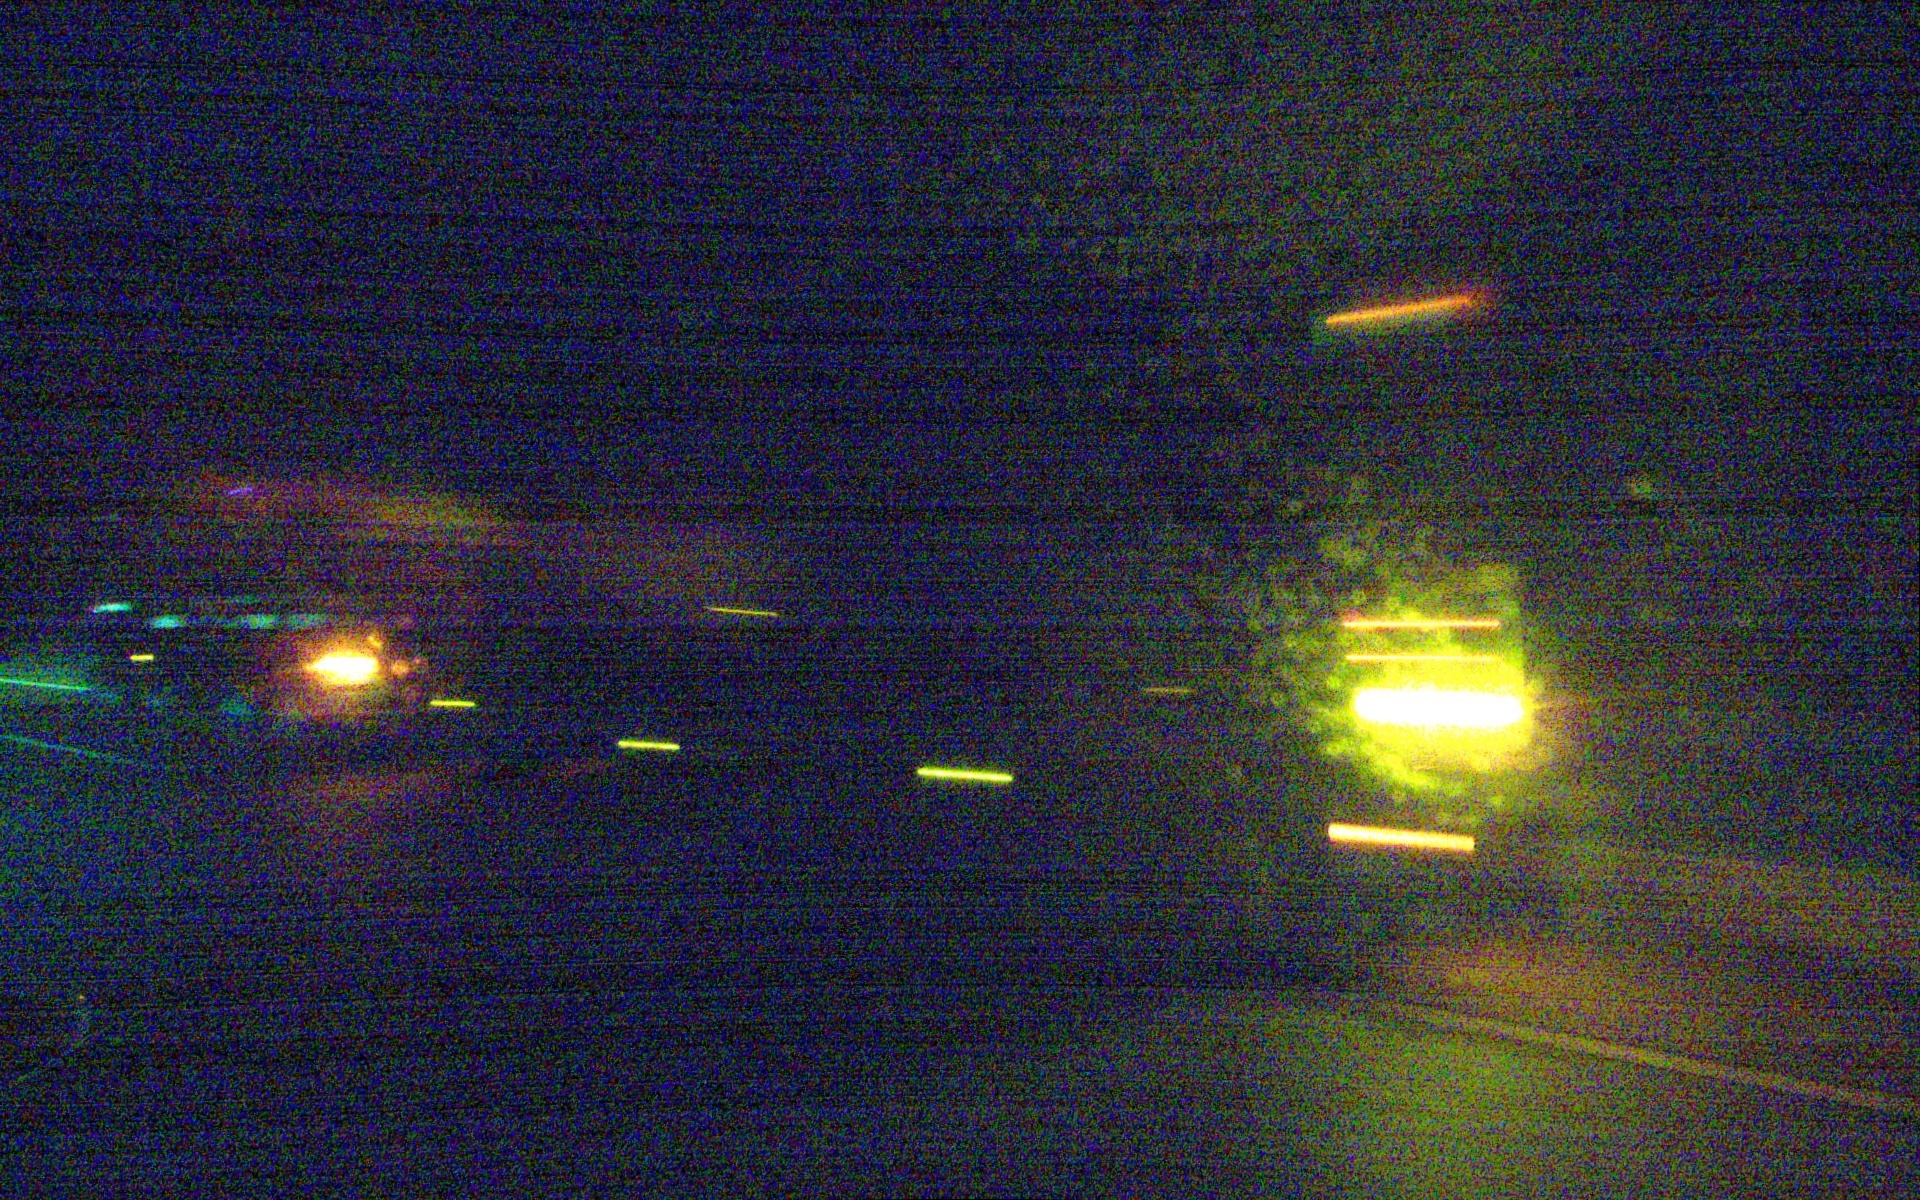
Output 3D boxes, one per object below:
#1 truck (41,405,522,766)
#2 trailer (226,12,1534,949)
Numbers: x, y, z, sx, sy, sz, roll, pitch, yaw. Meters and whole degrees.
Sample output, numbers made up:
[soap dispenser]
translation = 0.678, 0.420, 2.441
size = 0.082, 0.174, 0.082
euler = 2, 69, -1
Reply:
[truck]
translation = -9.873, -0.103, 14.217
size = 7.943, 3.891, 2.859
euler = -1, 0, 34
[trailer]
translation = -2.265, -0.332, 9.009
size = 12.711, 3.982, 2.867
euler = -2, -1, 34
